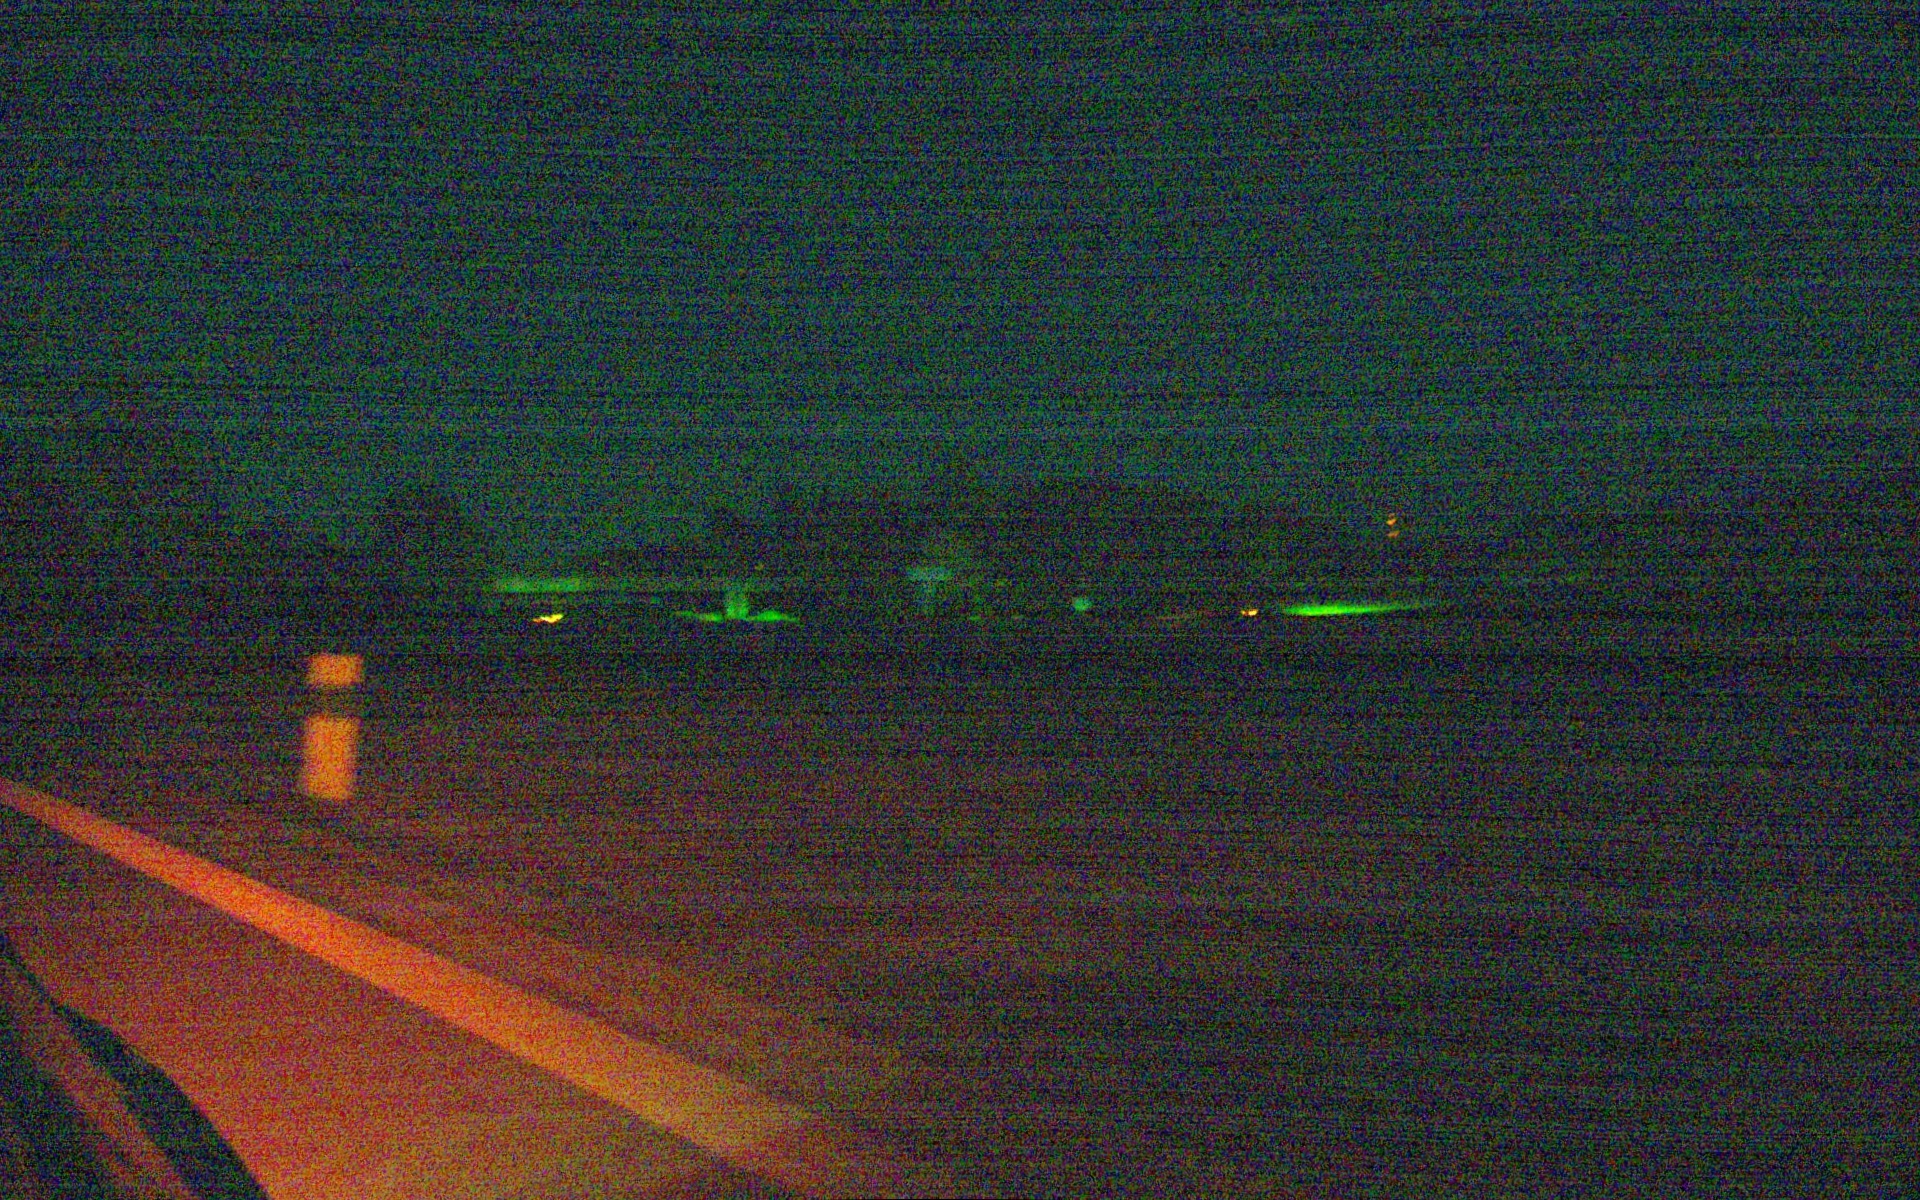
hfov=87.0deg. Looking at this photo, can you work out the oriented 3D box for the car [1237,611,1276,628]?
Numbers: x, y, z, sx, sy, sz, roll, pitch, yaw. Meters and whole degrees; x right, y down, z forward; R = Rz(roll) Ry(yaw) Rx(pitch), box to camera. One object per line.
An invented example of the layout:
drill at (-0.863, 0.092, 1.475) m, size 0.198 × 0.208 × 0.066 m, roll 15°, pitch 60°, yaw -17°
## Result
car at (35.691, 2.349, 121.827) m, size 3.933 × 1.797 × 1.882 m, roll 4°, pitch 0°, yaw -15°
